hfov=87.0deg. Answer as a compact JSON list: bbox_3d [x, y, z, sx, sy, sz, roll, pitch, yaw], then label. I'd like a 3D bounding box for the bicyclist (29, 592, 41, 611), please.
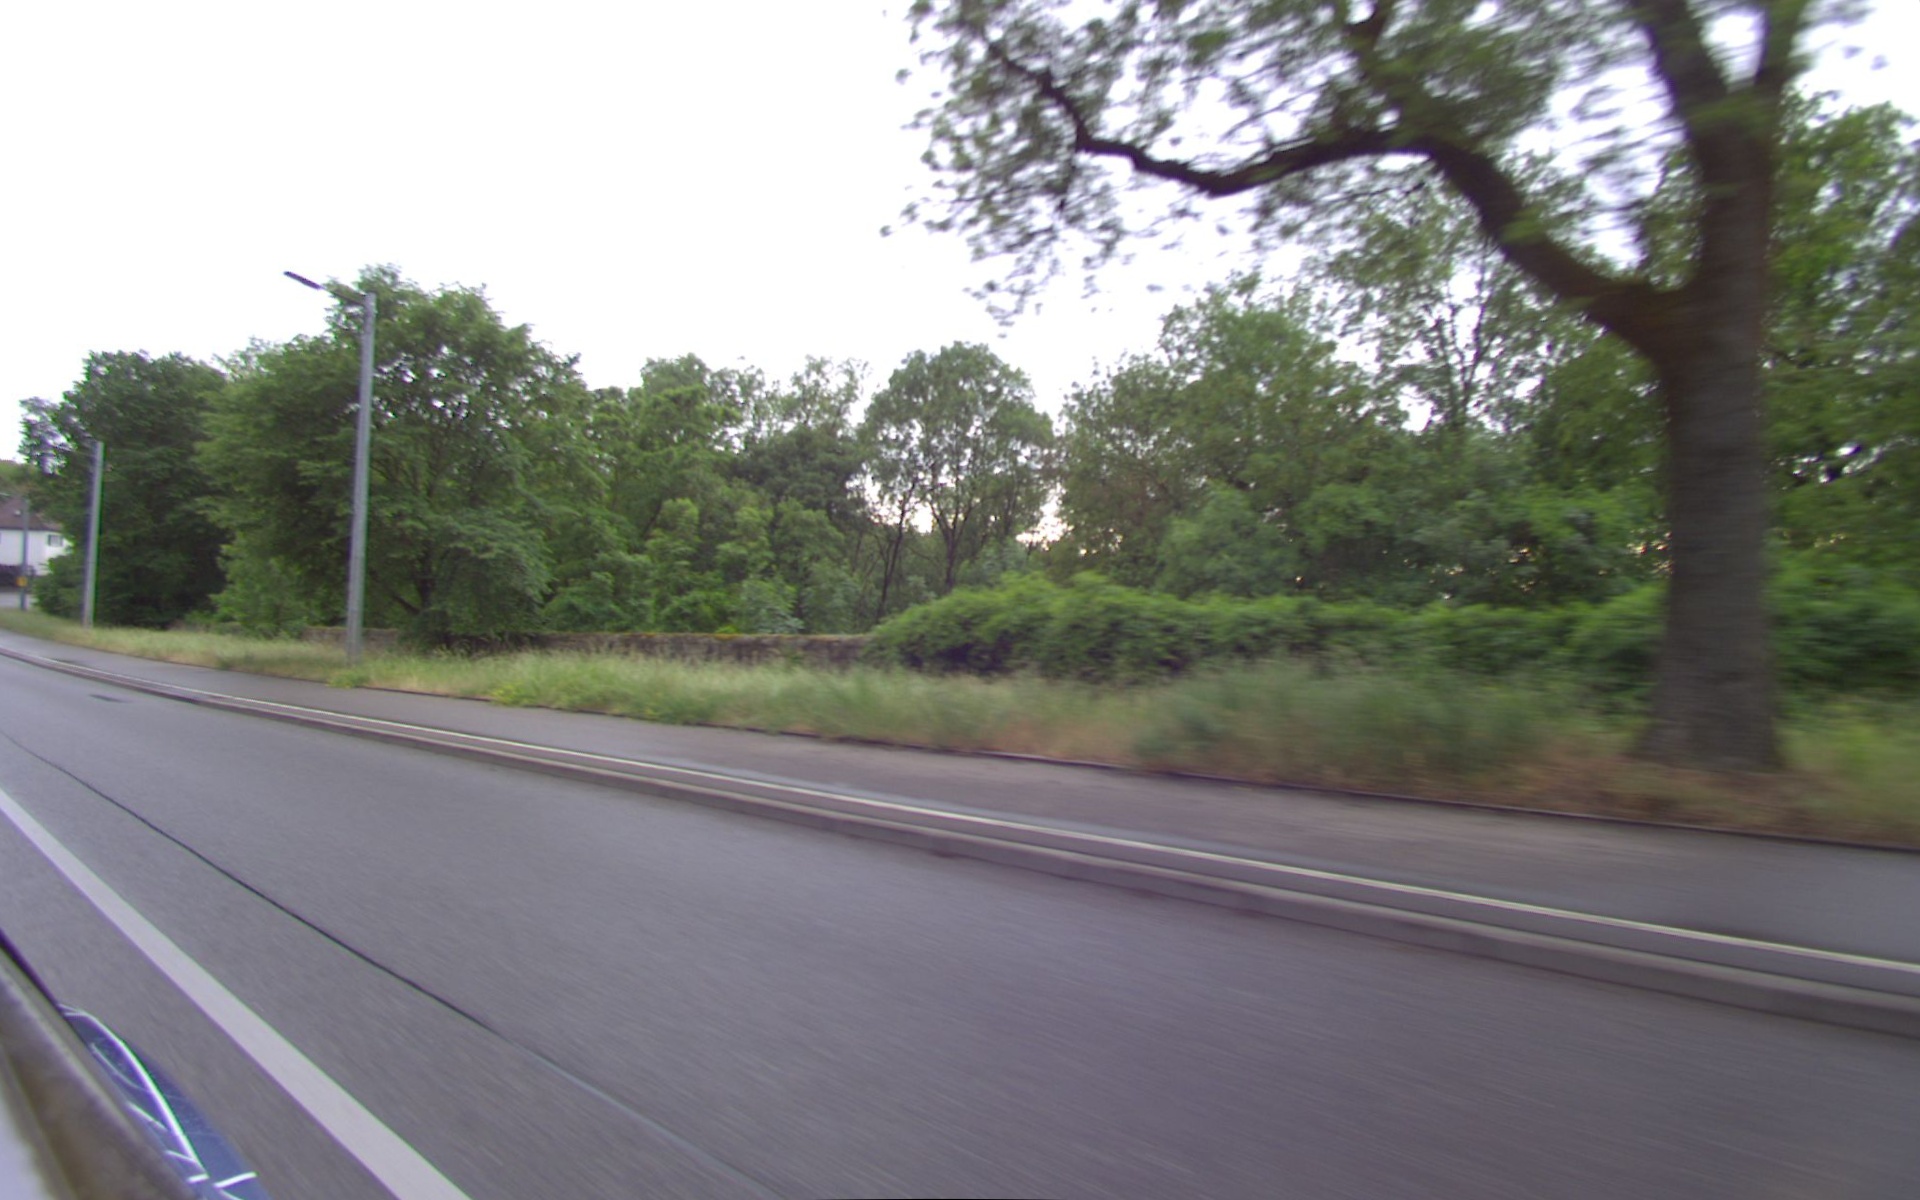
[{"bbox_3d":[-81.197,0.132,88.838,0.699,1.568,1.173,1,-1,-38],"label":"bicyclist"}]

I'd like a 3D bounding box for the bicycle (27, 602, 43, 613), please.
[{"bbox_3d":[-81.300,0.661,88.952,0.714,0.949,2.556,1,0,-37],"label":"bicycle"}]
